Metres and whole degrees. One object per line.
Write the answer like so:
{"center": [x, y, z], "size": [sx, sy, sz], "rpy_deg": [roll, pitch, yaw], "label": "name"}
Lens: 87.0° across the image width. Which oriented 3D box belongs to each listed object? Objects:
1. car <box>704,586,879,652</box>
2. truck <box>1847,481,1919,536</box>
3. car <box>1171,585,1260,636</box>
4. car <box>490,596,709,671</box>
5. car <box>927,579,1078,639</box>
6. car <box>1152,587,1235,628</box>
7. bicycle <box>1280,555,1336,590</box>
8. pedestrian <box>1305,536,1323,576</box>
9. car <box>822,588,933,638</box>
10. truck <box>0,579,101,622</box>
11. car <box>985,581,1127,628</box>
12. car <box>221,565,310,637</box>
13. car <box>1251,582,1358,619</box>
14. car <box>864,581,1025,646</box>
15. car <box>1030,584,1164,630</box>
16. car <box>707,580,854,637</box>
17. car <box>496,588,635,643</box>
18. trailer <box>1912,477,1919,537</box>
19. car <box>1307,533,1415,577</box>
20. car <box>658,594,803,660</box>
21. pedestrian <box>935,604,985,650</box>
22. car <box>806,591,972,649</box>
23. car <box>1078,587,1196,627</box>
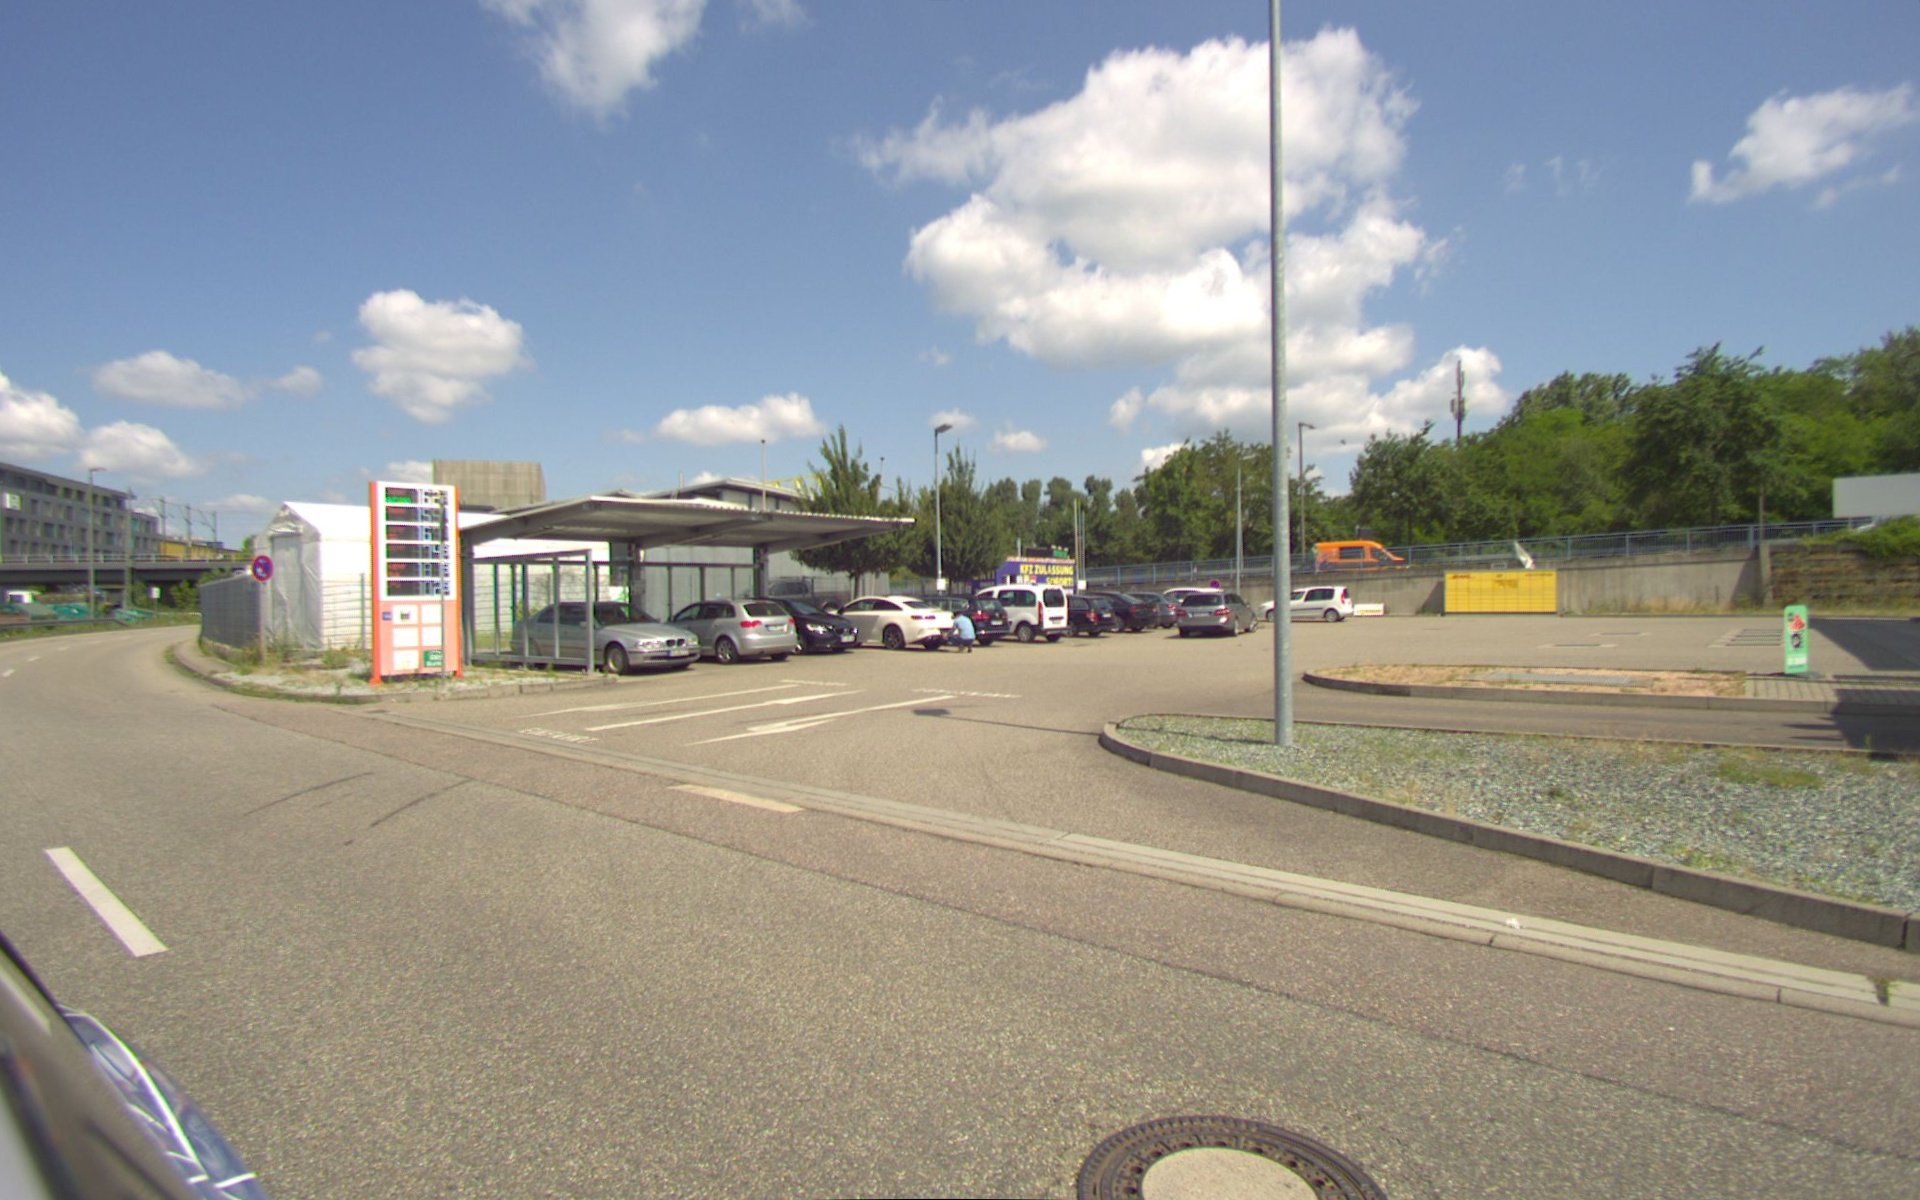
{"center": [-4.298, 0.457, 25.554], "size": [4.245, 1.509, 1.975], "rpy_deg": [-1, 0, 37], "label": "car"}
{"center": [50.692, -4.842, 53.303], "size": [5.839, 2.646, 2.123], "rpy_deg": [0, 0, 39], "label": "truck"}
{"center": [8.613, 0.296, 33.796], "size": [1.914, 1.499, 4.489], "rpy_deg": [0, 2, 27], "label": "car"}
{"center": [-7.625, 0.639, 21.234], "size": [4.779, 1.388, 1.901], "rpy_deg": [0, 1, 34], "label": "car"}
{"center": [1.313, 0.266, 32.603], "size": [4.590, 1.791, 1.975], "rpy_deg": [0, 0, 37], "label": "car"}
{"center": [9.661, 0.309, 41.990], "size": [3.119, 1.637, 1.256], "rpy_deg": [0, 0, 37], "label": "car"}
{"center": [17.855, -1.404, 51.924], "size": [2.680, 1.763, 0.530], "rpy_deg": [0, 0, 29], "label": "bicycle"}
{"center": [18.107, -2.236, 51.758], "size": [0.765, 2.009, 0.586], "rpy_deg": [0, 0, 28], "label": "pedestrian"}
{"center": [-3.453, 0.531, 43.274], "size": [1.998, 2.029, 4.792], "rpy_deg": [0, 0, 39], "label": "car"}
{"center": [-67.618, 0.056, 75.161], "size": [5.418, 3.121, 2.007], "rpy_deg": [0, 0, -21], "label": "truck"}
{"center": [3.291, 0.151, 35.211], "size": [4.590, 1.564, 1.975], "rpy_deg": [0, 0, 37], "label": "car"}
{"center": [-26.853, 0.073, 39.002], "size": [2.093, 2.556, 6.727], "rpy_deg": [0, -1, -41], "label": "car"}
{"center": [15.759, 0.025, 46.390], "size": [4.300, 1.615, 1.978], "rpy_deg": [0, 0, 33], "label": "car"}
{"center": [-0.514, 0.365, 30.048], "size": [4.593, 1.780, 1.974], "rpy_deg": [0, 0, 39], "label": "car"}
{"center": [5.064, 0.251, 37.752], "size": [4.590, 1.610, 1.975], "rpy_deg": [0, 0, 37], "label": "car"}
{"center": [-6.773, 0.305, 38.813], "size": [1.998, 2.029, 5.627], "rpy_deg": [0, 0, 39], "label": "car"}
{"center": [-13.775, 0.519, 35.599], "size": [4.341, 1.846, 2.005], "rpy_deg": [0, 0, -13], "label": "car"}
{"center": [55.654, -4.895, 49.205], "size": [13.481, 2.987, 2.123], "rpy_deg": [0, 0, 39], "label": "trailer"}
{"center": [23.005, -2.556, 58.134], "size": [5.538, 2.274, 1.980], "rpy_deg": [-1, 1, 30], "label": "car"}
{"center": [-5.163, 0.565, 22.680], "size": [3.051, 1.355, 1.579], "rpy_deg": [0, 1, 37], "label": "car"}
{"center": [0.003, 0.670, 25.658], "size": [0.997, 1.134, 0.801], "rpy_deg": [0, 0, 37], "label": "pedestrian"}
{"center": [-1.963, 0.505, 27.196], "size": [4.309, 1.448, 1.872], "rpy_deg": [0, 0, 37], "label": "car"}
{"center": [7.053, 0.267, 40.443], "size": [4.285, 1.502, 1.867], "rpy_deg": [0, 0, 37], "label": "car"}
